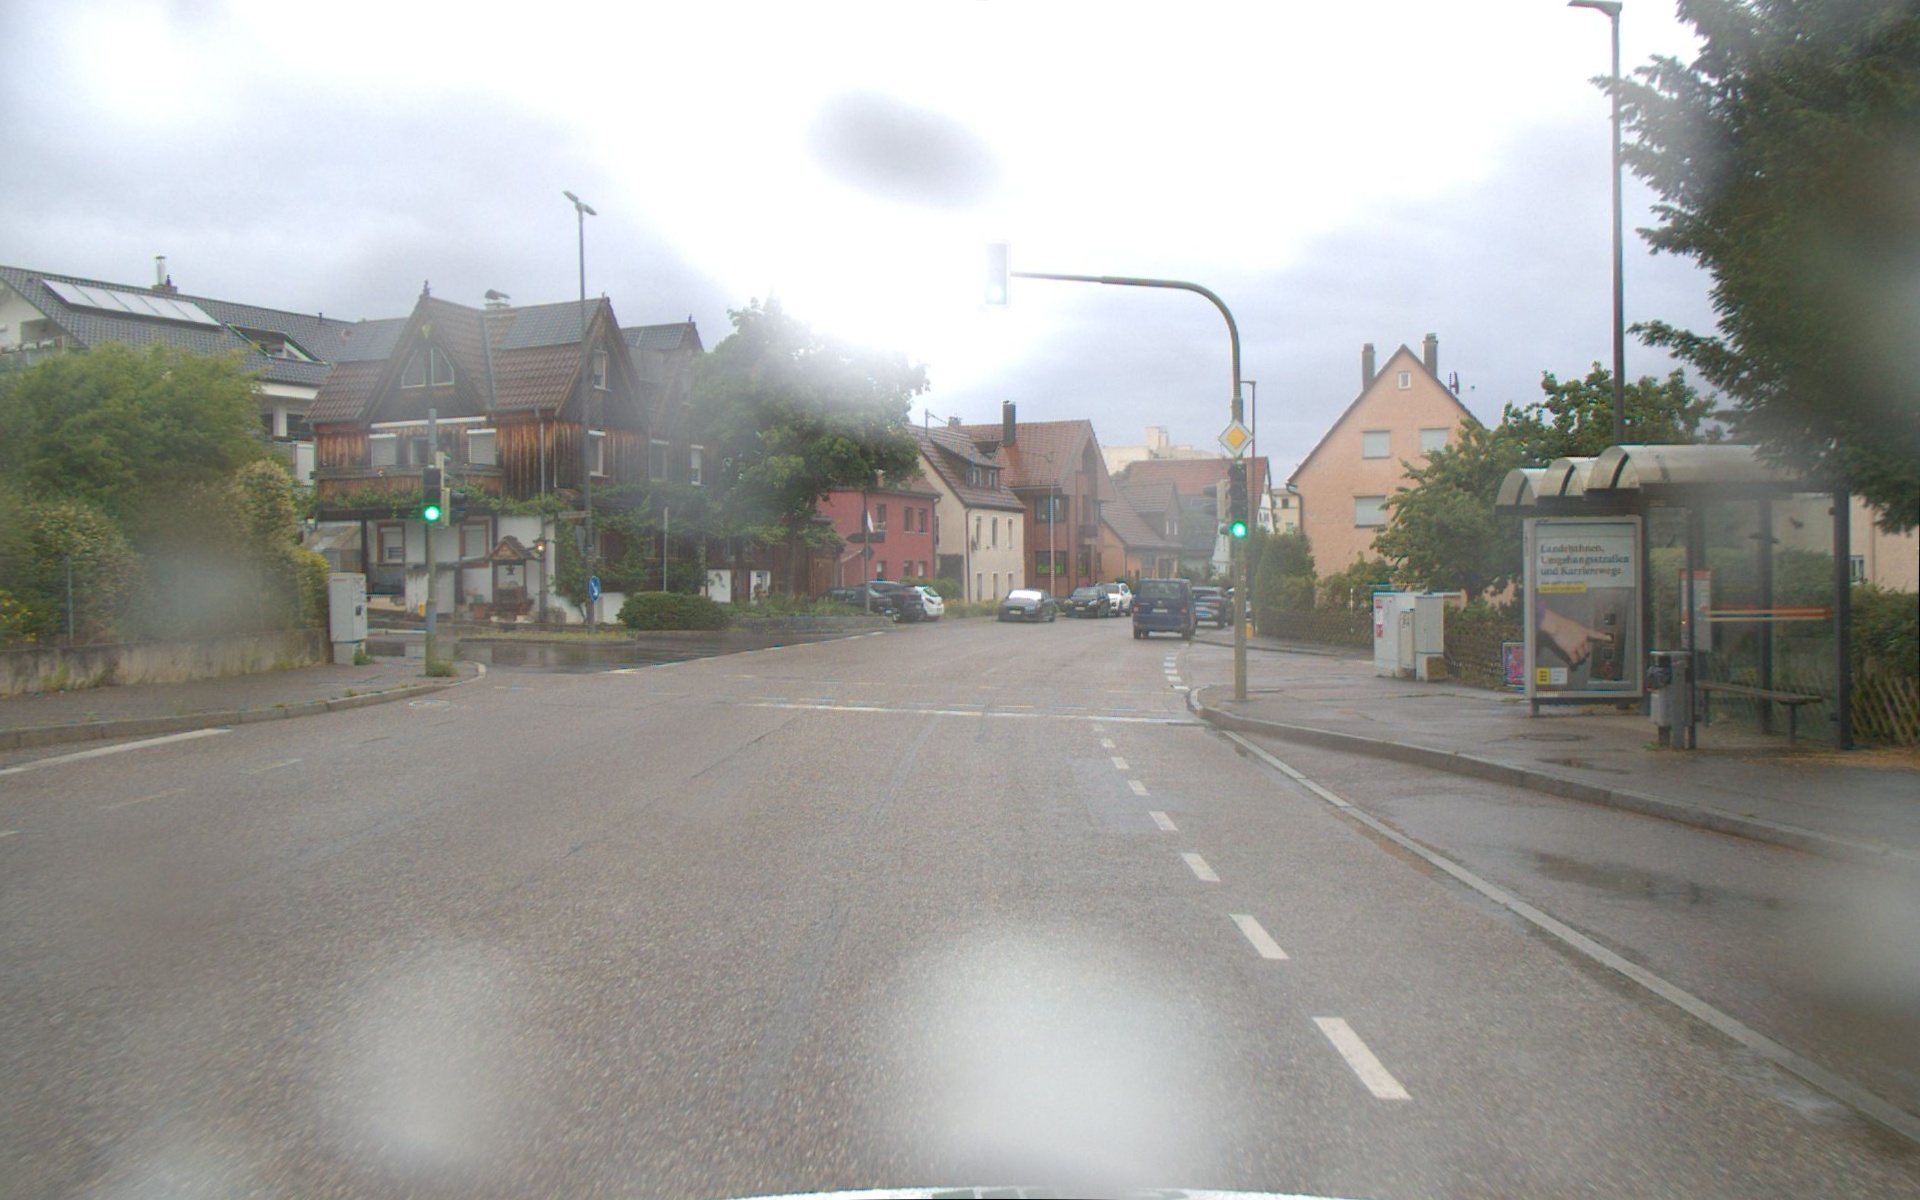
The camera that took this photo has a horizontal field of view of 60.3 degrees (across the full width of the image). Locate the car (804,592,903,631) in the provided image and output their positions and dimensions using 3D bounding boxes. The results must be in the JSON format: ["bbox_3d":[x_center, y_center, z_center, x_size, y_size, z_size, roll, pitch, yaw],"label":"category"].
[{"bbox_3d":[-4.048,0.429,62.931,3.375,1.443,1.633,-1,0,21],"label":"car"}]

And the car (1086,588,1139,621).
[{"bbox_3d":[7.907,0.203,85.551,1.727,1.647,4.658,-1,0,18],"label":"car"}]

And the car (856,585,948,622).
[{"bbox_3d":[-2.367,0.145,67.627,3.389,1.505,1.591,-1,0,21],"label":"car"}]

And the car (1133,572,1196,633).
[{"bbox_3d":[6.929,0.077,55.799,1.889,1.935,4.797,1,0,9],"label":"car"}]

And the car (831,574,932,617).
[{"bbox_3d":[-3.112,-0.186,65.377,3.503,1.532,1.855,2,1,22],"label":"car"}]

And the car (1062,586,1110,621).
[{"bbox_3d":[6.184,0.162,81.018,1.571,1.646,3.277,-1,0,19],"label":"car"}]

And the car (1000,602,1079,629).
[{"bbox_3d":[4.484,0.867,93.209,4.090,1.427,1.788,-1,0,26],"label":"car"}]

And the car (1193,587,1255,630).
[{"bbox_3d":[11.277,0.338,70.451,1.869,1.747,4.557,2,1,18],"label":"car"}]

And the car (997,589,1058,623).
[{"bbox_3d":[2.935,0.254,71.244,1.592,1.379,4.113,2,1,17],"label":"car"}]

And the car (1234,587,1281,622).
[{"bbox_3d":[14.394,0.227,79.942,1.764,1.623,4.614,1,0,16],"label":"car"}]
